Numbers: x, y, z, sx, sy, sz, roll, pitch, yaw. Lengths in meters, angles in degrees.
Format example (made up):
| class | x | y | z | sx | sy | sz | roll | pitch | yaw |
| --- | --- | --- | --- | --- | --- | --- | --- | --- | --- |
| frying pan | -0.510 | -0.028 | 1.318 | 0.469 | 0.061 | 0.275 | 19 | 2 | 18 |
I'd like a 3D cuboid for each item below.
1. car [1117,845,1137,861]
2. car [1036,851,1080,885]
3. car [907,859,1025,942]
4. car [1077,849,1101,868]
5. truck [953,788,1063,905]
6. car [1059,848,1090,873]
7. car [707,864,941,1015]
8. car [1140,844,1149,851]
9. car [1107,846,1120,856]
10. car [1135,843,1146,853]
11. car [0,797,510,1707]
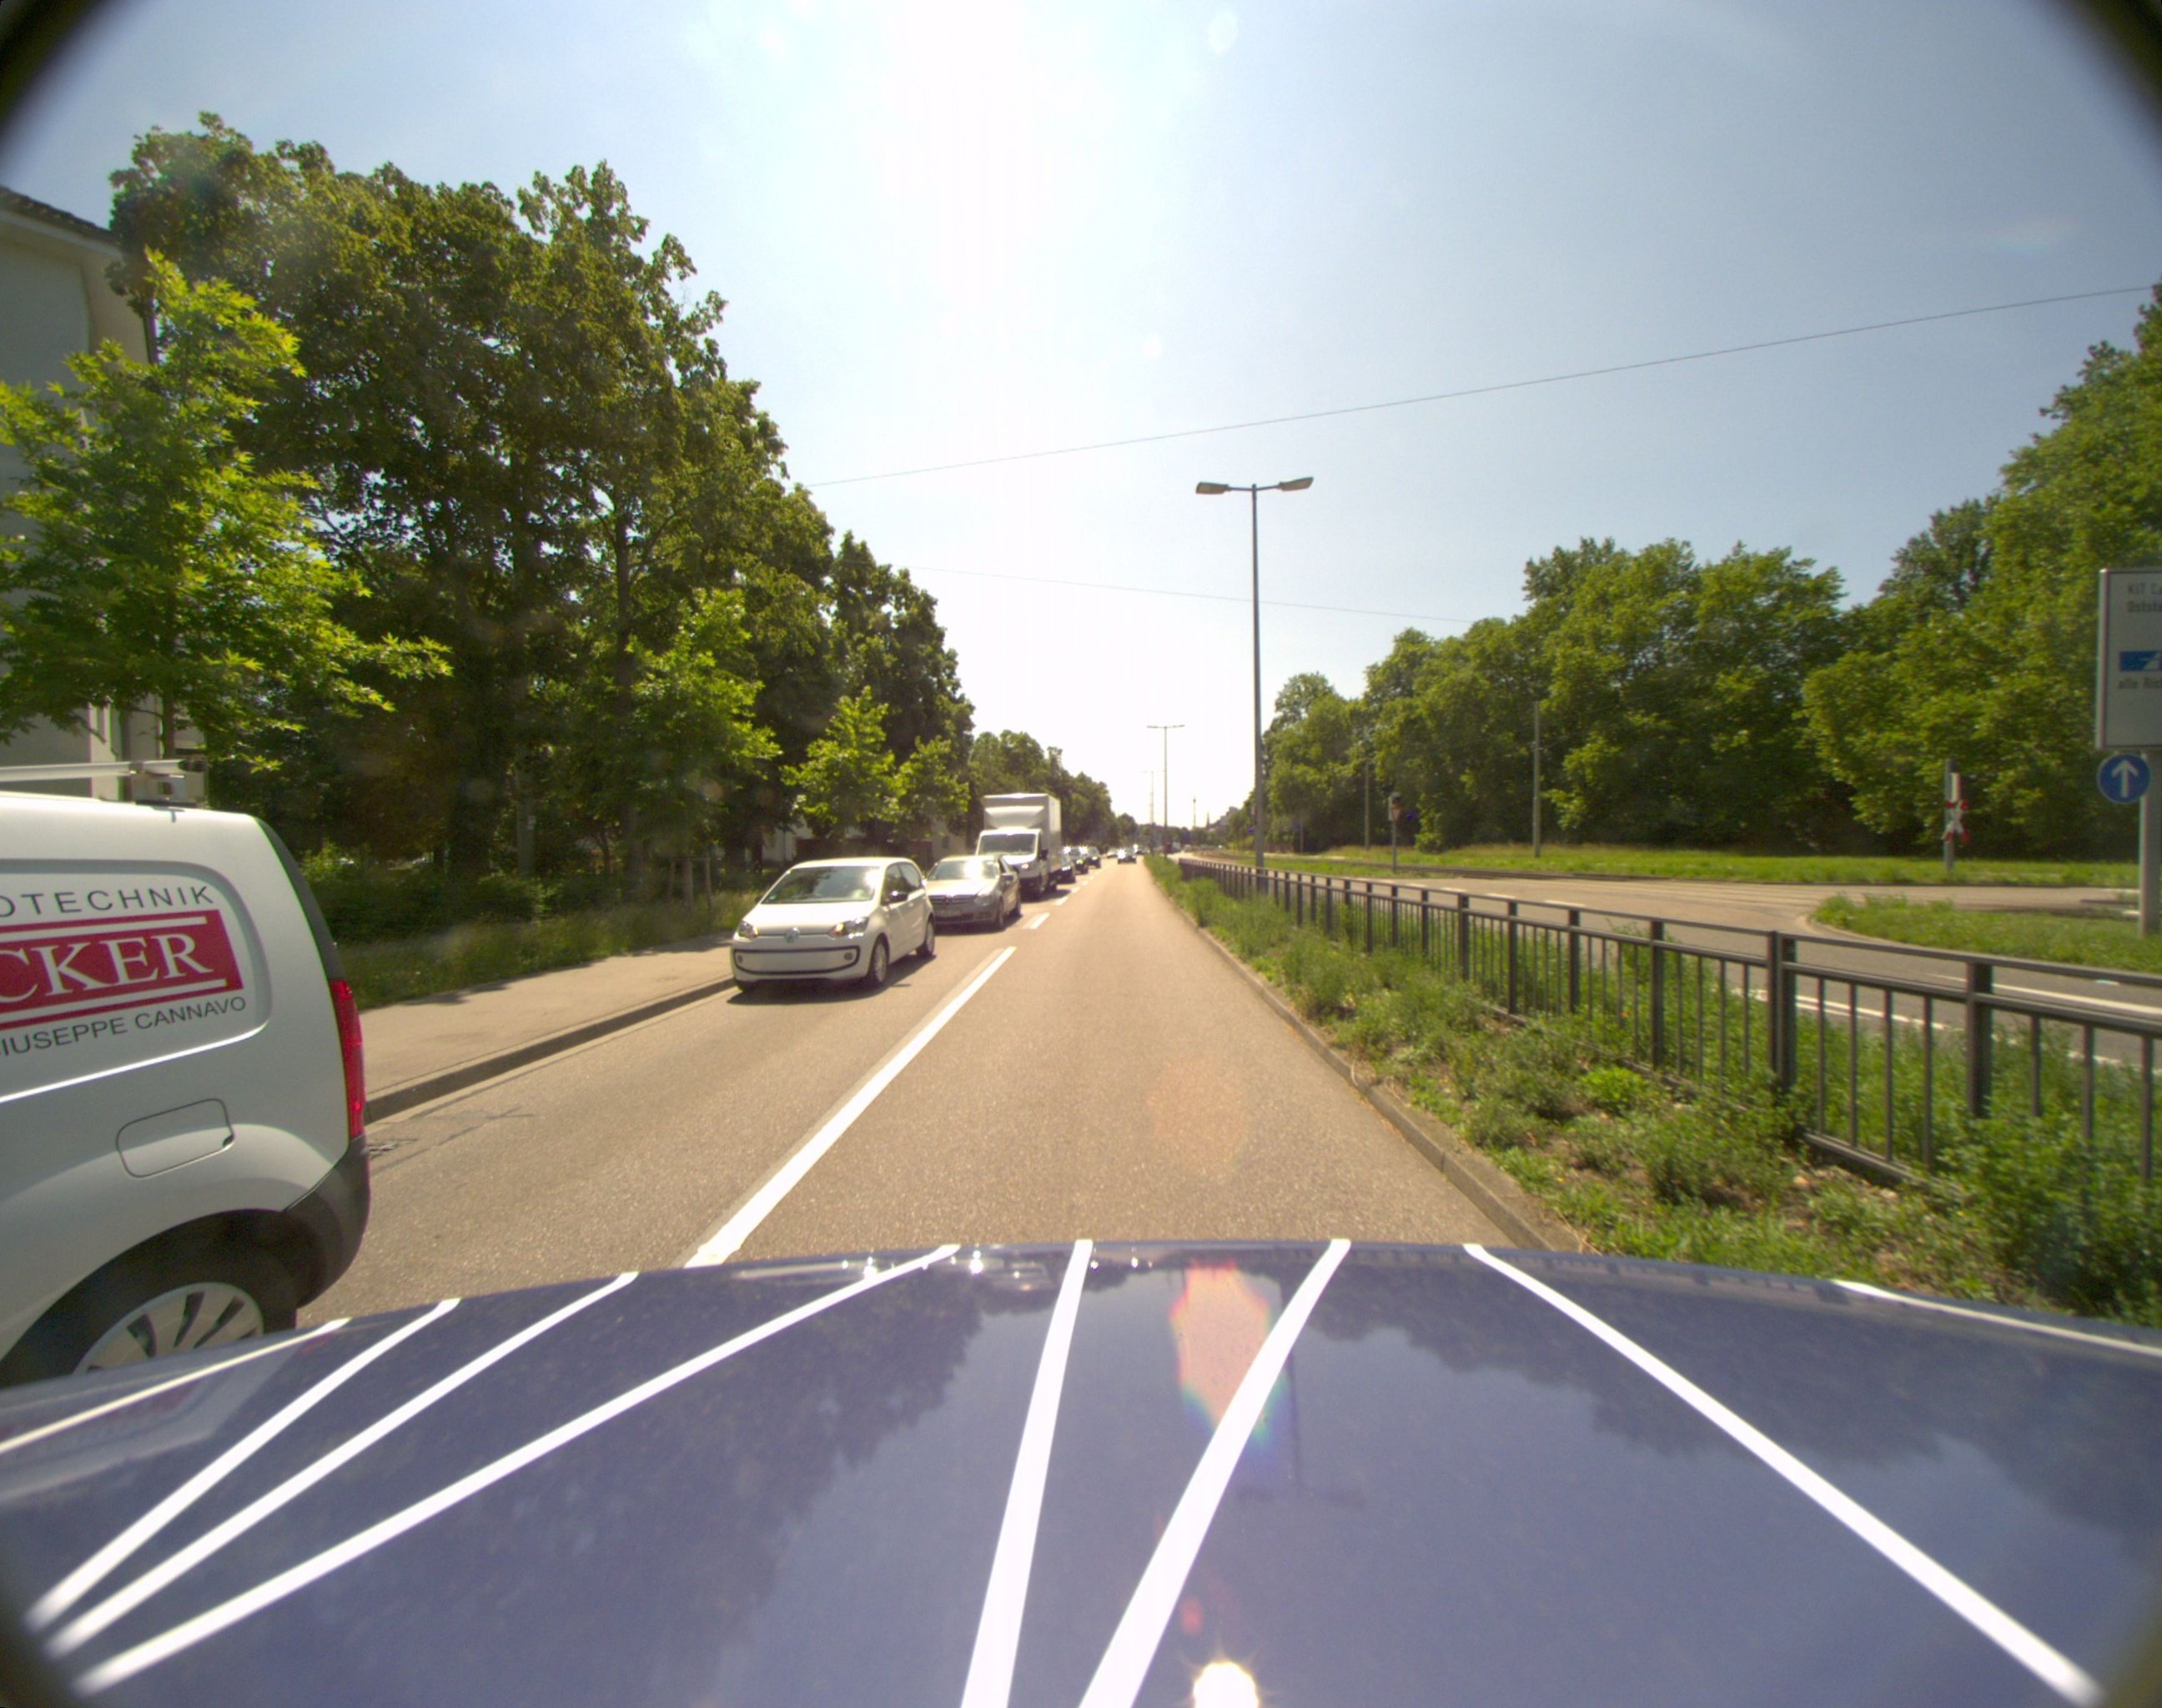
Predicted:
| class | x | y | z | sx | sy | sz | roll | pitch | yaw |
| --- | --- | --- | --- | --- | --- | --- | --- | --- | --- |
| car | 4.372 | -0.128 | 72.189 | 1.746 | 1.382 | 3.887 | -1 | 1 | 2 |
| car | -1.001 | 0.607 | 34.764 | 1.746 | 1.382 | 3.887 | -1 | 1 | 2 |
| car | -2.238 | 0.851 | 15.810 | 1.618 | 1.373 | 4.114 | -2 | 1 | 2 |
| car | 0.639 | 0.330 | 58.616 | 1.746 | 1.382 | 3.887 | -1 | 1 | 2 |
| truck | -2.147 | -0.254 | 24.768 | 2.489 | 3.277 | 6.605 | -1 | 1 | 4 |
| car | -0.370 | 0.375 | 46.173 | 1.618 | 1.373 | 4.114 | -2 | 1 | 2 |
| car | -3.006 | 0.915 | 9.677 | 1.626 | 1.433 | 3.498 | -2 | 1 | 2 |
| car | 13.582 | -1.414 | 162.179 | 1.745 | 1.382 | 3.889 | -1 | 1 | 7 |
| car | 4.820 | -0.442 | 112.043 | 1.745 | 1.382 | 3.888 | -1 | 1 | 5 |
| car | 10.559 | -1.088 | 134.593 | 1.745 | 1.840 | 3.888 | -1 | 1 | 5 |
| car | -3.151 | 0.854 | 0.312 | 1.809 | 1.845 | 5.082 | -2 | 1 | 2 |
